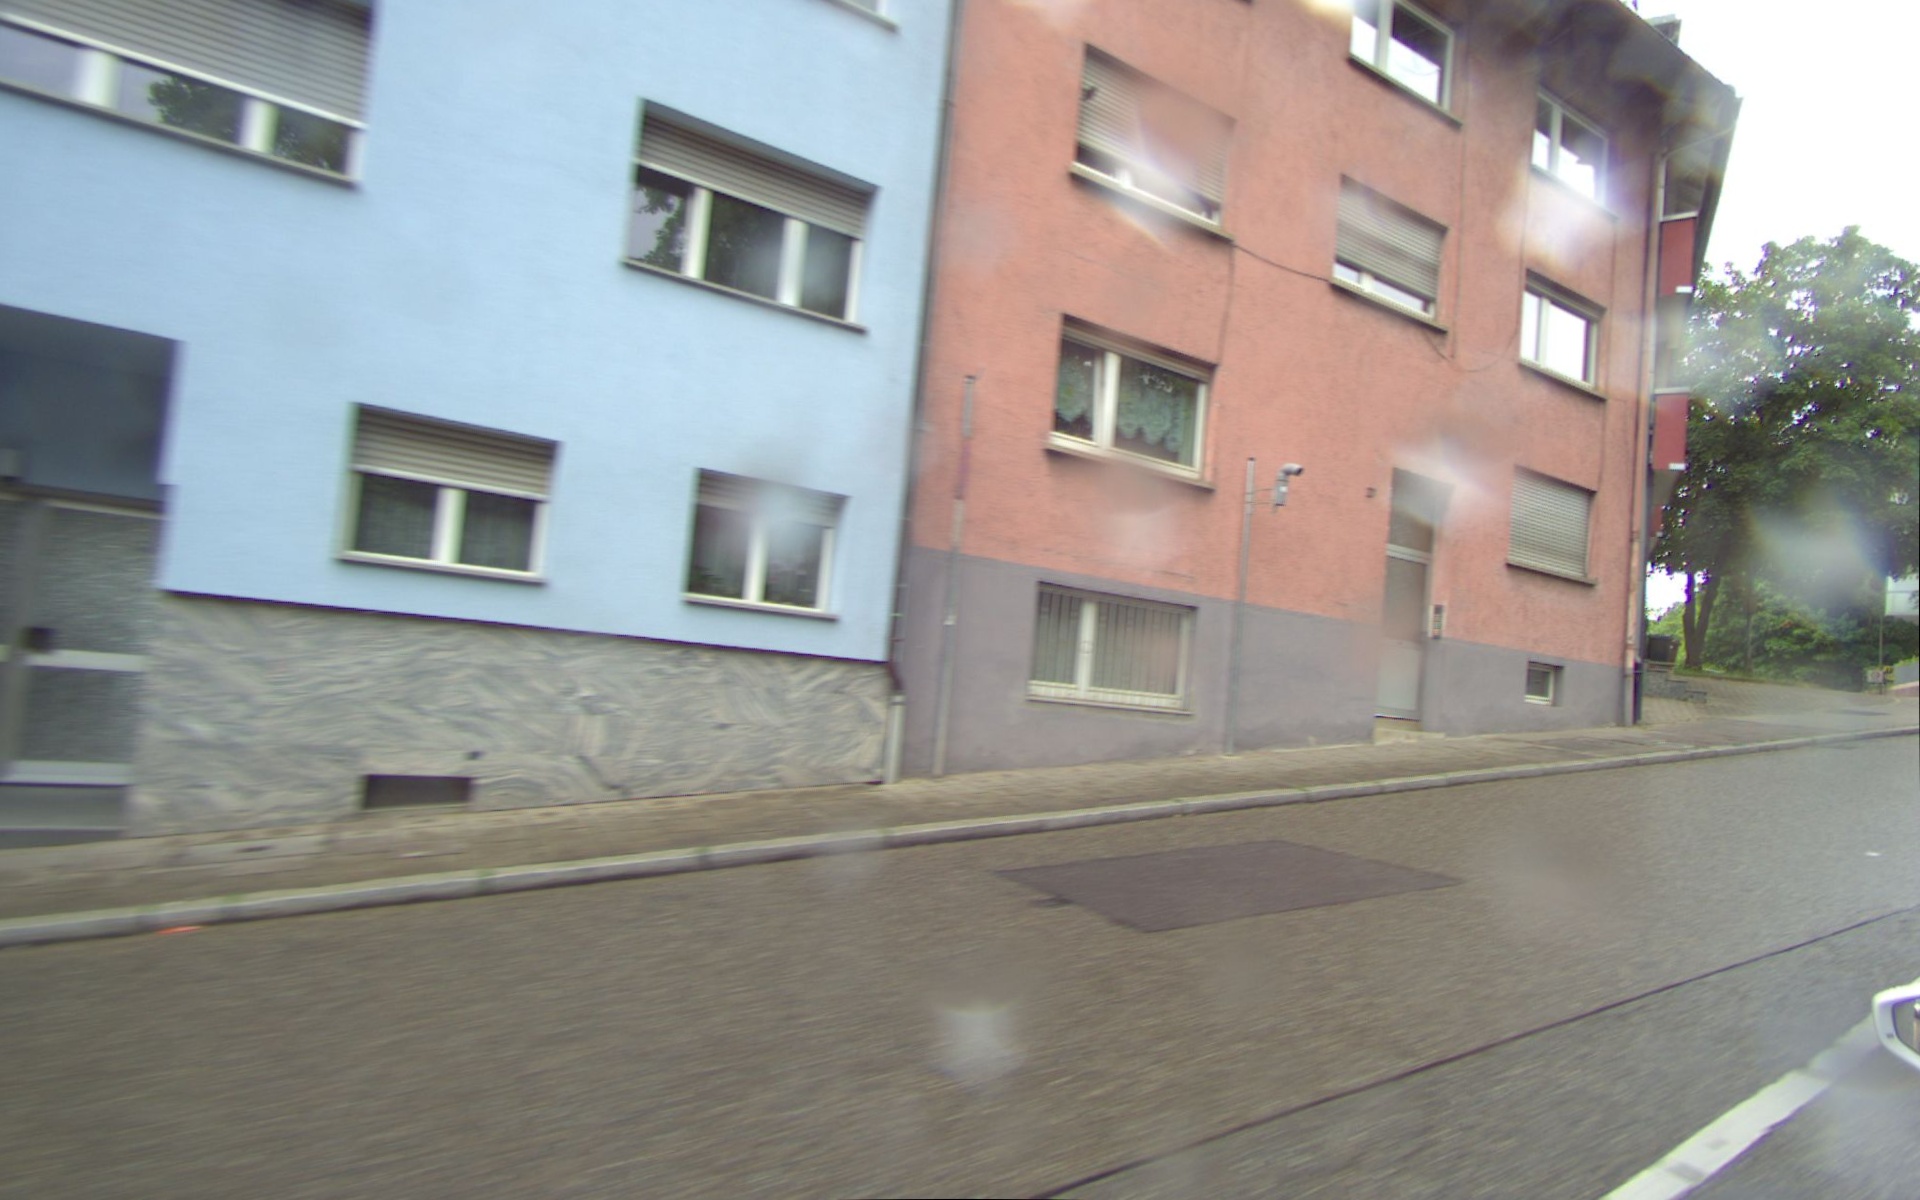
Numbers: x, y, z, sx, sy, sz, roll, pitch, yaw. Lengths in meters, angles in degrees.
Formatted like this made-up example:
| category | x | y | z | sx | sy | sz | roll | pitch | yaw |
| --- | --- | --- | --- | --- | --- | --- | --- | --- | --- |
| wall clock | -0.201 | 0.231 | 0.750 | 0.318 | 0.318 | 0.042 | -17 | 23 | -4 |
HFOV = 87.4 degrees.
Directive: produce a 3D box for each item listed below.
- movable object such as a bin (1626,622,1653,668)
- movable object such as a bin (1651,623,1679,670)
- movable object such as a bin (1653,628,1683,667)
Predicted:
| category | x | y | z | sx | sy | sz | roll | pitch | yaw |
| --- | --- | --- | --- | --- | --- | --- | --- | --- | --- |
| movable object such as a bin | 18.539 | 1.228 | 27.428 | 0.552 | 1.215 | 0.687 | 3 | -1 | 34 |
| movable object such as a bin | 19.024 | 1.254 | 27.116 | 0.552 | 1.215 | 0.687 | 3 | -1 | 34 |
| movable object such as a bin | 19.448 | 1.307 | 27.591 | 0.619 | 1.029 | 0.499 | 3 | -1 | 35 |
